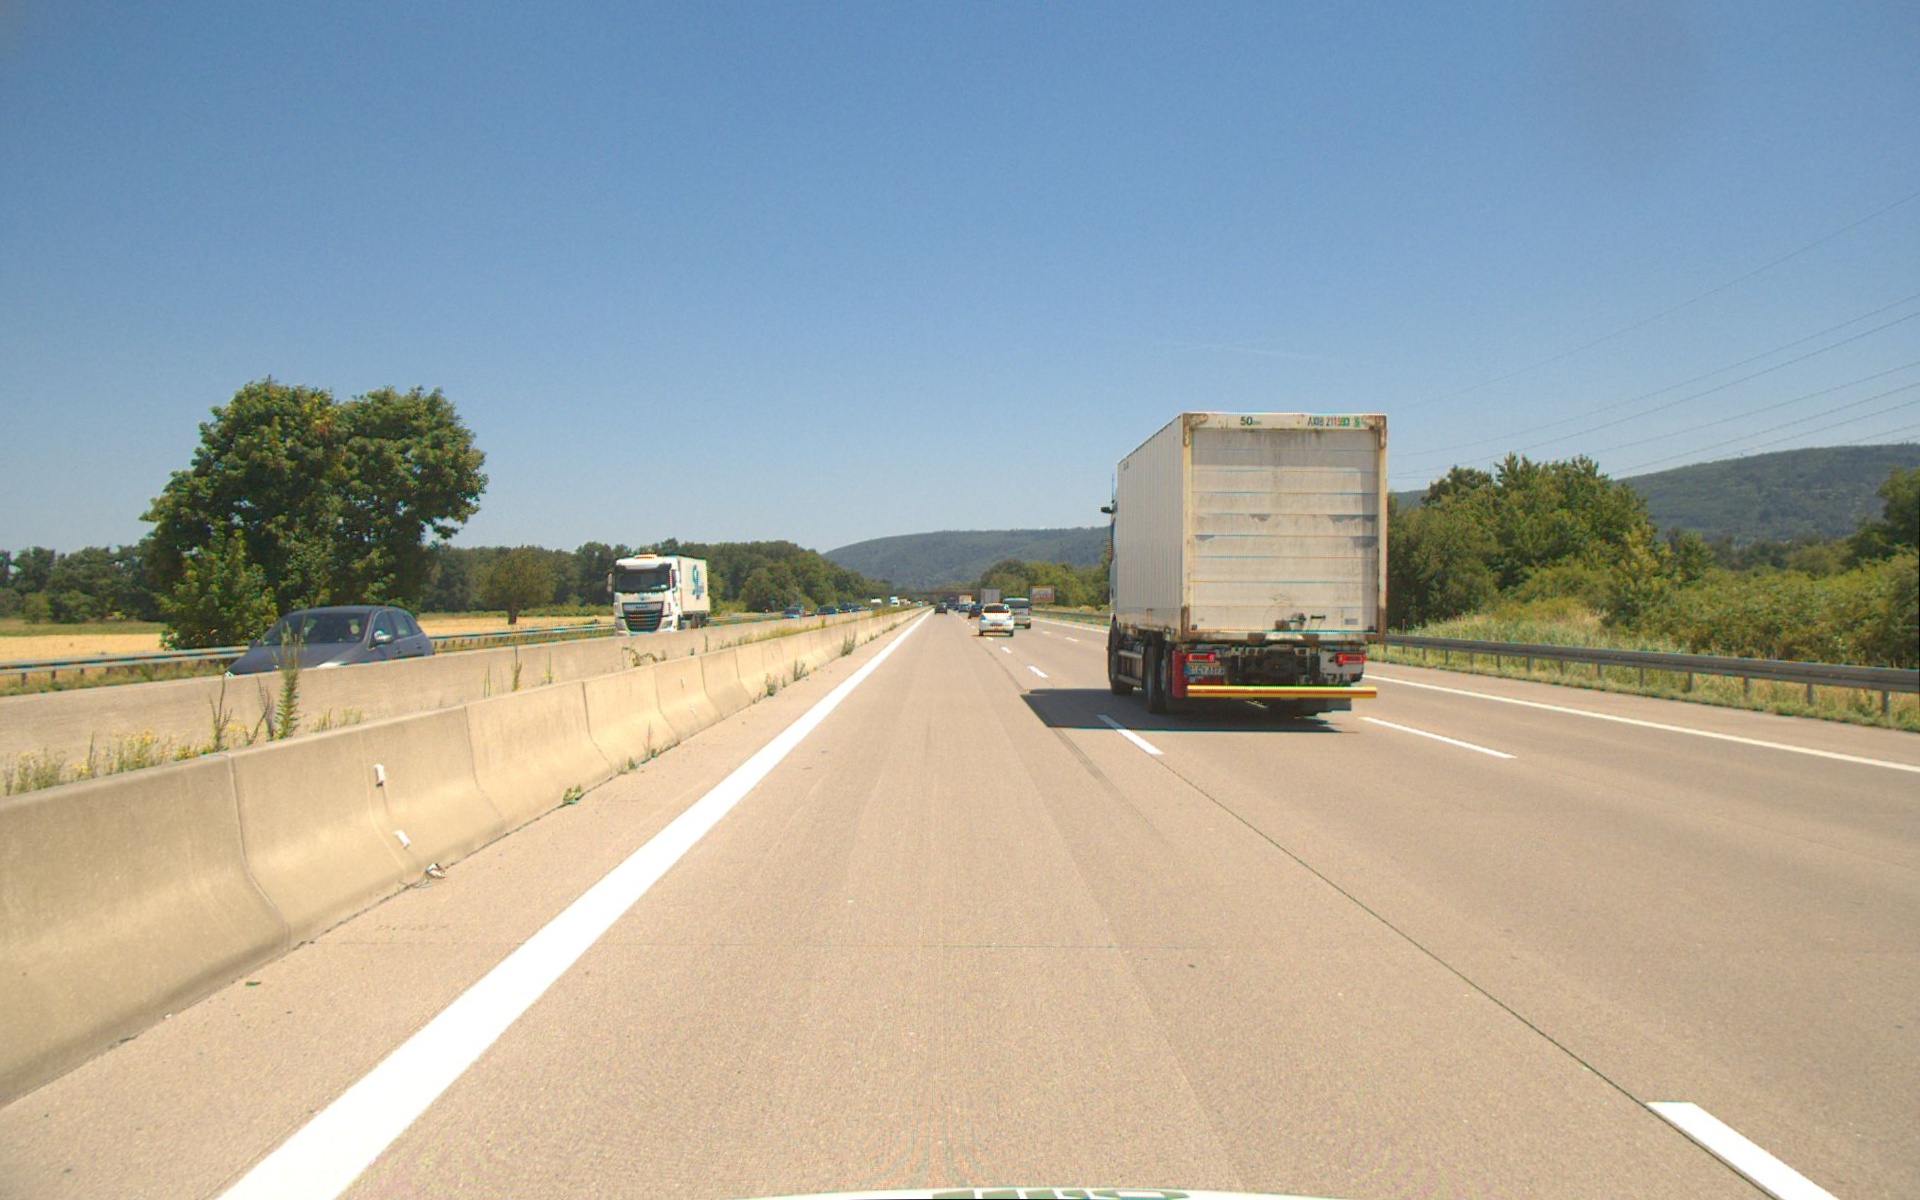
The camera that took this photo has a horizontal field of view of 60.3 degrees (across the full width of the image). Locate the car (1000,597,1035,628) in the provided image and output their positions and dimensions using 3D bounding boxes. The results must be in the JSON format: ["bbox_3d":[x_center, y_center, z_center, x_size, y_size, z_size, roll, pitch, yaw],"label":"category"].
[{"bbox_3d":[3.632,0.779,104.875,1.953,1.881,3.999,1,0,-1],"label":"car"}]

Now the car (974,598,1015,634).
[{"bbox_3d":[1.651,0.746,79.358,1.782,1.691,3.999,0,0,-1],"label":"car"}]

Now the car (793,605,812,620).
[{"bbox_3d":[-18.561,1.427,195.618,1.953,1.747,4.299,1,0,-2],"label":"car"}]

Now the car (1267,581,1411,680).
[{"bbox_3d":[7.868,0.606,34.711,1.953,1.881,3.999,3,0,-1],"label":"car"}]

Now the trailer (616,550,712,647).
[{"bbox_3d":[-13.044,-0.048,73.636,2.841,4.039,8.475,1,0,-1],"label":"trailer"}]

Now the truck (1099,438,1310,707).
[{"bbox_3d":[3.835,-0.405,26.988,2.529,3.945,4.982,1,0,-2],"label":"truck"}]

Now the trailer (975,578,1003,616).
[{"bbox_3d":[4.609,-0.441,264.750,3.646,5.913,12.156,1,0,-2],"label":"trailer"}]

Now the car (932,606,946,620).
[{"bbox_3d":[-2.887,1.816,231.089,1.890,1.825,3.999,1,0,-1],"label":"car"}]

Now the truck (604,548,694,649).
[{"bbox_3d":[-12.969,-0.052,69.399,2.841,4.039,5.044,1,0,-1],"label":"truck"}]

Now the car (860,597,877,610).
[{"bbox_3d":[-12.483,0.483,225.490,1.952,1.747,5.030,1,0,0],"label":"car"}]

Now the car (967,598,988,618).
[{"bbox_3d":[1.806,0.818,169.921,1.953,1.881,3.998,3,0,-2],"label":"car"}]

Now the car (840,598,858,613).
[{"bbox_3d":[-14.850,0.753,220.882,1.952,1.911,5.184,1,0,0],"label":"car"}]

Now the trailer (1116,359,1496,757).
[{"bbox_3d":[3.959,-0.409,21.750,2.528,3.945,10.370,1,0,-2],"label":"trailer"}]

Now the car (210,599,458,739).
[{"bbox_3d":[-8.598,0.877,23.132,1.825,1.759,4.141,1,0,1],"label":"car"}]

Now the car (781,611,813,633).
[{"bbox_3d":[-13.753,1.857,139.886,1.952,1.747,5.026,1,0,2],"label":"car"}]
